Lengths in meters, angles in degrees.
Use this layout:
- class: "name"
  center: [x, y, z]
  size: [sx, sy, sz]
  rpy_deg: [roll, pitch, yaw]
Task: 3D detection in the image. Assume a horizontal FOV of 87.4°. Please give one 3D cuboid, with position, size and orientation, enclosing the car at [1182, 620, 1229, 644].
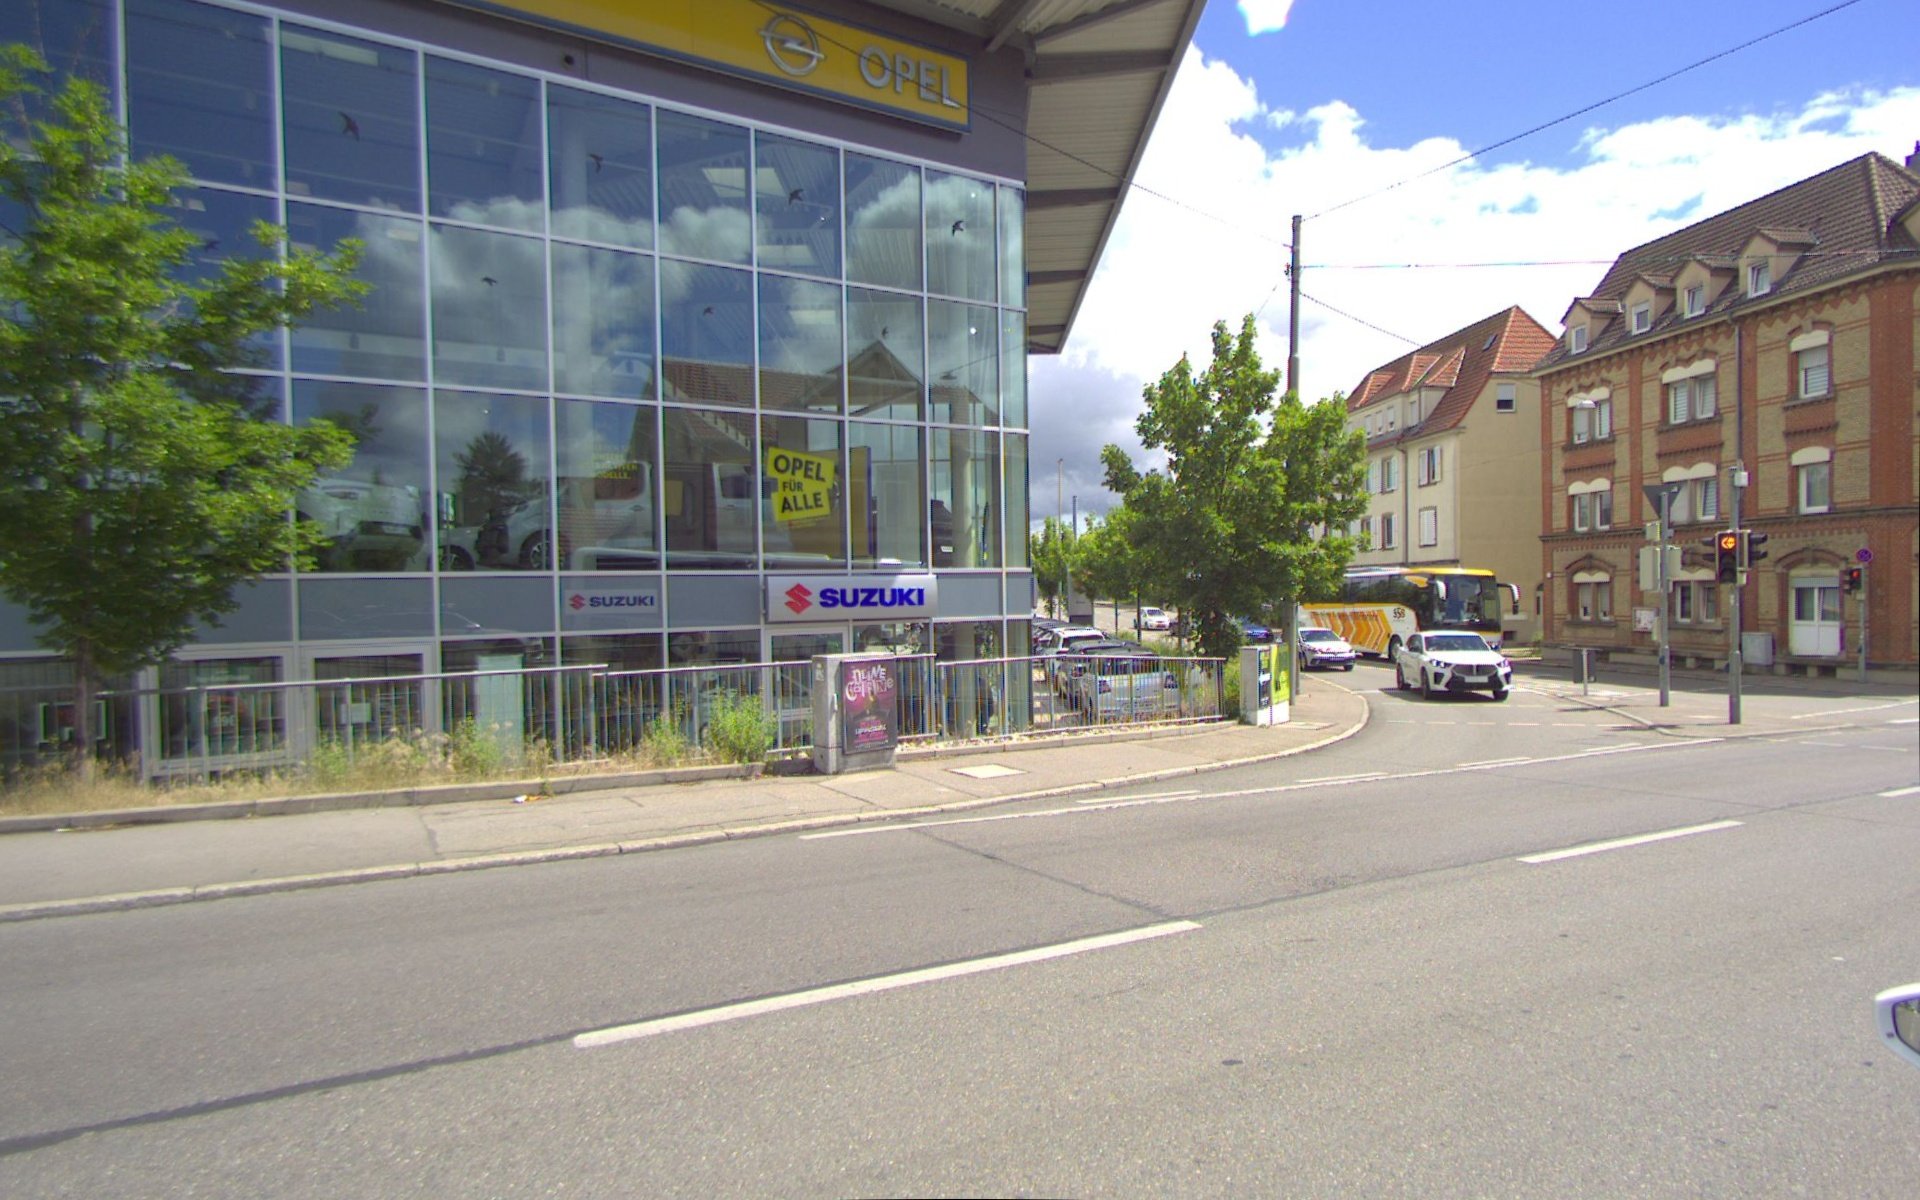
- class: "car"
  center: [15.414, 2.010, 63.281]
  size: [1.874, 1.428, 3.999]
  rpy_deg: [1, -1, -2]

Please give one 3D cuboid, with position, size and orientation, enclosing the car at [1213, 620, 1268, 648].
- class: "car"
  center: [15.276, 1.850, 54.958]
  size: [1.717, 1.428, 3.999]
  rpy_deg: [1, -1, -3]

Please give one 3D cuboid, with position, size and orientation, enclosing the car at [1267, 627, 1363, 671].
- class: "car"
  center: [12.348, 1.692, 35.185]
  size: [1.848, 1.437, 3.619]
  rpy_deg: [1, -1, -5]

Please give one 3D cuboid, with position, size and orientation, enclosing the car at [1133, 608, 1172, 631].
- class: "car"
  center: [13.648, 1.385, 71.449]
  size: [1.874, 1.574, 3.999]
  rpy_deg: [1, -1, -2]

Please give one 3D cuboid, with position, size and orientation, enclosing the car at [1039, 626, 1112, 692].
- class: "car"
  center: [3.289, 1.660, 29.174]
  size: [1.620, 1.703, 3.499]
  rpy_deg: [-1, 0, -2]

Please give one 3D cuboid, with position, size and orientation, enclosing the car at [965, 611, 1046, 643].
- class: "car"
  center: [2.361, 1.417, 52.792]
  size: [3.930, 1.574, 1.804]
  rpy_deg: [1, -1, -12]

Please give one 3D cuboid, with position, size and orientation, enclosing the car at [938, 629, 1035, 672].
- class: "car"
  center: [0.932, 1.832, 36.957]
  size: [3.432, 1.467, 1.799]
  rpy_deg: [-1, 0, -3]

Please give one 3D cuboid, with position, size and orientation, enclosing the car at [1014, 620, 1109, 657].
- class: "car"
  center: [4.531, 1.707, 45.199]
  size: [3.925, 1.574, 1.806]
  rpy_deg: [1, -1, -7]

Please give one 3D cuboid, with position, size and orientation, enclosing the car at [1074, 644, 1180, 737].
- class: "car"
  center: [3.301, 1.756, 20.395]
  size: [1.648, 1.582, 3.365]
  rpy_deg: [-1, 0, 1]

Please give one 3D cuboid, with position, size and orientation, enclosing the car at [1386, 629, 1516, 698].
- class: "car"
  center: [12.094, 1.526, 25.045]
  size: [1.796, 1.572, 4.310]
  rpy_deg: [-1, -2, 10]

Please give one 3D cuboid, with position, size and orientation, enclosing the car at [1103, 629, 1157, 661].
- class: "car"
  center: [8.210, 2.162, 48.846]
  size: [1.766, 1.467, 3.498]
  rpy_deg: [1, -1, -5]

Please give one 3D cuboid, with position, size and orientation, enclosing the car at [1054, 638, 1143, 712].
- class: "car"
  center: [3.317, 1.773, 24.578]
  size: [1.584, 1.547, 3.499]
  rpy_deg: [-1, 0, -2]

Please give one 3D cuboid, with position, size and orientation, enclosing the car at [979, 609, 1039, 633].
- class: "car"
  center: [3.260, 1.412, 67.402]
  size: [3.922, 1.574, 1.807]
  rpy_deg: [1, -1, -1]

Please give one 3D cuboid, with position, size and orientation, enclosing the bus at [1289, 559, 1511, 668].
- class: "bus"
  center: [17.030, 0.527, 40.399]
  size: [2.718, 3.670, 12.256]
  rpy_deg: [1, -1, -4]

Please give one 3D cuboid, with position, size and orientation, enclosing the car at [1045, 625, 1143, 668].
- class: "car"
  center: [4.964, 1.713, 37.435]
  size: [3.430, 1.497, 1.800]
  rpy_deg: [1, -1, 1]
